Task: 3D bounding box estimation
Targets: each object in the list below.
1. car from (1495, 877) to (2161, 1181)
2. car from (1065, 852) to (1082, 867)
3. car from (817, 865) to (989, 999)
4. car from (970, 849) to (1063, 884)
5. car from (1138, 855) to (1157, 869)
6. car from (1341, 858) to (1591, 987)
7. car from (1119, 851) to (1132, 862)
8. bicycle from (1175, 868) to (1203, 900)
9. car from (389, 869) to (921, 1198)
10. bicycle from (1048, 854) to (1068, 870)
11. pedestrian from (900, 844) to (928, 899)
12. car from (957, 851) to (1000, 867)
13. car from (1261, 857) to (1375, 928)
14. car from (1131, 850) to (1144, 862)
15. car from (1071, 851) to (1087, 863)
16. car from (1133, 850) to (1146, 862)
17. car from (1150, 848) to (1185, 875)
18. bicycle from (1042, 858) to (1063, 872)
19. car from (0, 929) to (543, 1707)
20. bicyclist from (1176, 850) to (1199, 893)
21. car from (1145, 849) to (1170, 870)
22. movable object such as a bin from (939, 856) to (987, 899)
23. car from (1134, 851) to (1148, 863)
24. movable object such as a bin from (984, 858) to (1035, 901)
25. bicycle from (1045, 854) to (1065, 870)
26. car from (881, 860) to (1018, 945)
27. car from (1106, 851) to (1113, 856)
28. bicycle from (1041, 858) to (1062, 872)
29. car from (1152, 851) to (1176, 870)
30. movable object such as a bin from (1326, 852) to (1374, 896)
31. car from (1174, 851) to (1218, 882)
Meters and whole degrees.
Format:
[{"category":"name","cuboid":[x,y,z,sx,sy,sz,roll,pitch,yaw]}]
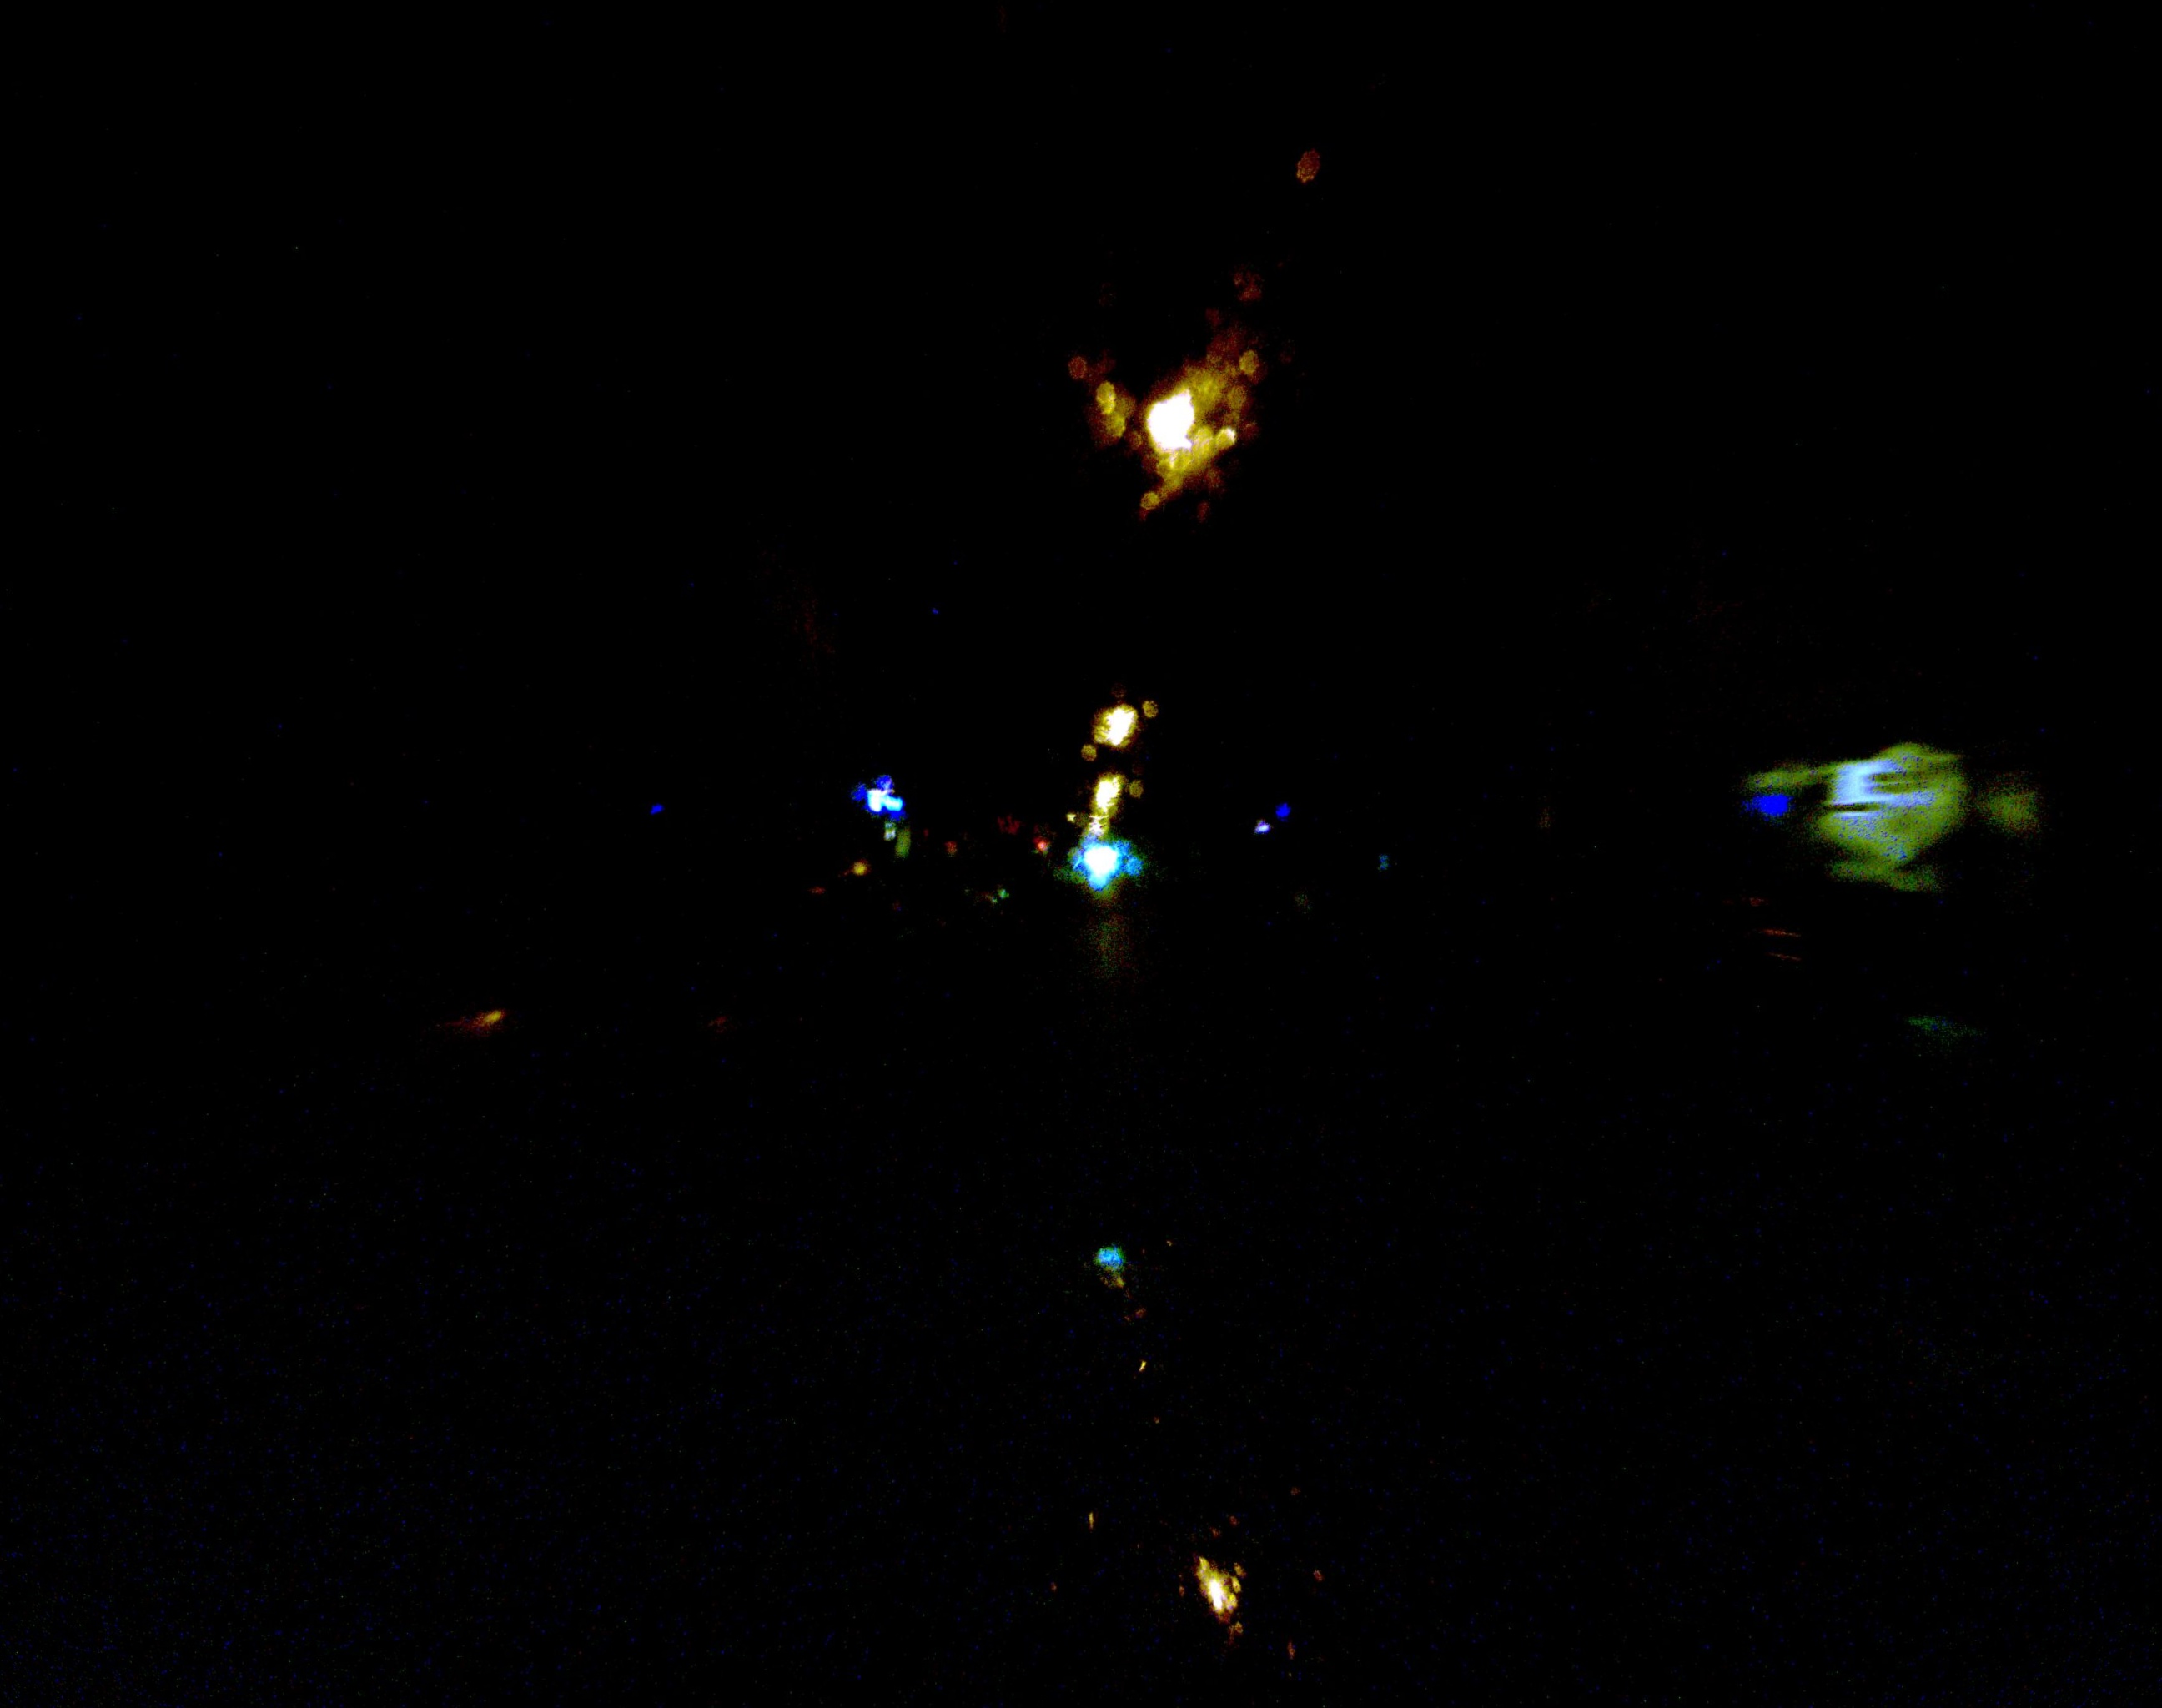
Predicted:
[{"category":"car","cuboid":[5.400,0.963,6.081,1.826,1.381,4.425,0,0,1]},{"category":"car","cuboid":[-0.837,0.603,85.937,1.676,1.712,3.856,0,1,2]},{"category":"car","cuboid":[-2.323,0.945,10.873,1.694,1.490,3.890,0,0,-3]},{"category":"car","cuboid":[-3.233,0.621,38.961,4.523,1.522,1.780,3,1,1]},{"category":"car","cuboid":[6.992,0.819,80.637,1.731,1.384,4.555,-1,0,2]},{"category":"car","cuboid":[5.529,0.873,11.591,1.779,1.563,4.134,0,1,1]},{"category":"car","cuboid":[7.130,0.396,121.793,1.845,1.687,4.162,0,1,2]},{"category":"bicycle","cuboid":[3.945,1.090,27.978,0.729,1.066,2.348,0,1,1]},{"category":"car","cuboid":[-2.467,0.911,5.620,1.694,1.490,3.891,0,0,1]},{"category":"bicycle","cuboid":[-1.971,0.653,64.252,1.532,1.195,0.366,5,2,4]},{"category":"pedestrian","cuboid":[-5.493,0.579,24.988,0.704,1.778,0.624,1,0,5]},{"category":"car","cuboid":[-10.365,0.482,77.259,3.996,1.476,1.895,-2,1,3]},{"category":"car","cuboid":[5.649,0.853,18.570,1.676,1.482,3.721,-2,0,1]},{"category":"car","cuboid":[7.630,0.269,102.741,1.697,1.470,3.964,-1,-1,3]},{"category":"car","cuboid":[-0.232,0.363,97.406,1.845,1.498,4.162,0,1,2]},{"category":"car","cuboid":[7.615,0.292,98.710,1.696,1.470,3.385,-1,-1,5]},{"category":"car","cuboid":[6.066,0.472,53.769,2.000,1.819,5.207,-1,0,2]},{"category":"bicycle","cuboid":[-2.233,0.828,59.441,1.533,0.947,0.366,5,2,-3]},{"category":"car","cuboid":[-2.778,0.964,0.535,1.922,1.404,4.000,0,0,0]},{"category":"bicyclist","cuboid":[3.923,0.623,28.067,0.720,1.547,0.895,0,1,1]},{"category":"car","cuboid":[6.908,0.498,68.946,1.907,1.819,4.829,-1,0,2]},{"category":"movable object such as a bin","cuboid":[-4.023,0.798,25.981,1.311,1.421,1.051,0,1,11]},{"category":"car","cuboid":[7.347,0.334,92.532,1.531,1.445,3.384,-1,0,2]},{"category":"movable object such as a bin","cuboid":[-2.484,0.866,26.467,1.344,1.421,1.198,-1,1,-35]},{"category":"bicycle","cuboid":[-2.206,0.670,63.806,1.532,1.195,0.366,5,2,0]},{"category":"car","cuboid":[-2.556,0.901,15.917,1.998,1.455,4.416,0,0,1]},{"category":"car","cuboid":[7.807,-0.193,207.663,1.876,1.386,4.075,-1,-1,5]},{"category":"bicycle","cuboid":[-2.264,0.819,58.959,1.533,0.947,0.366,5,2,-3]},{"category":"car","cuboid":[6.462,0.502,59.671,1.573,1.451,3.720,-1,0,2]},{"category":"movable object such as a bin","cuboid":[8.965,0.651,25.408,1.104,1.446,1.378,0,1,-1]},{"category":"car","cuboid":[6.213,0.657,41.551,1.771,1.474,4.772,-4,0,2]}]
